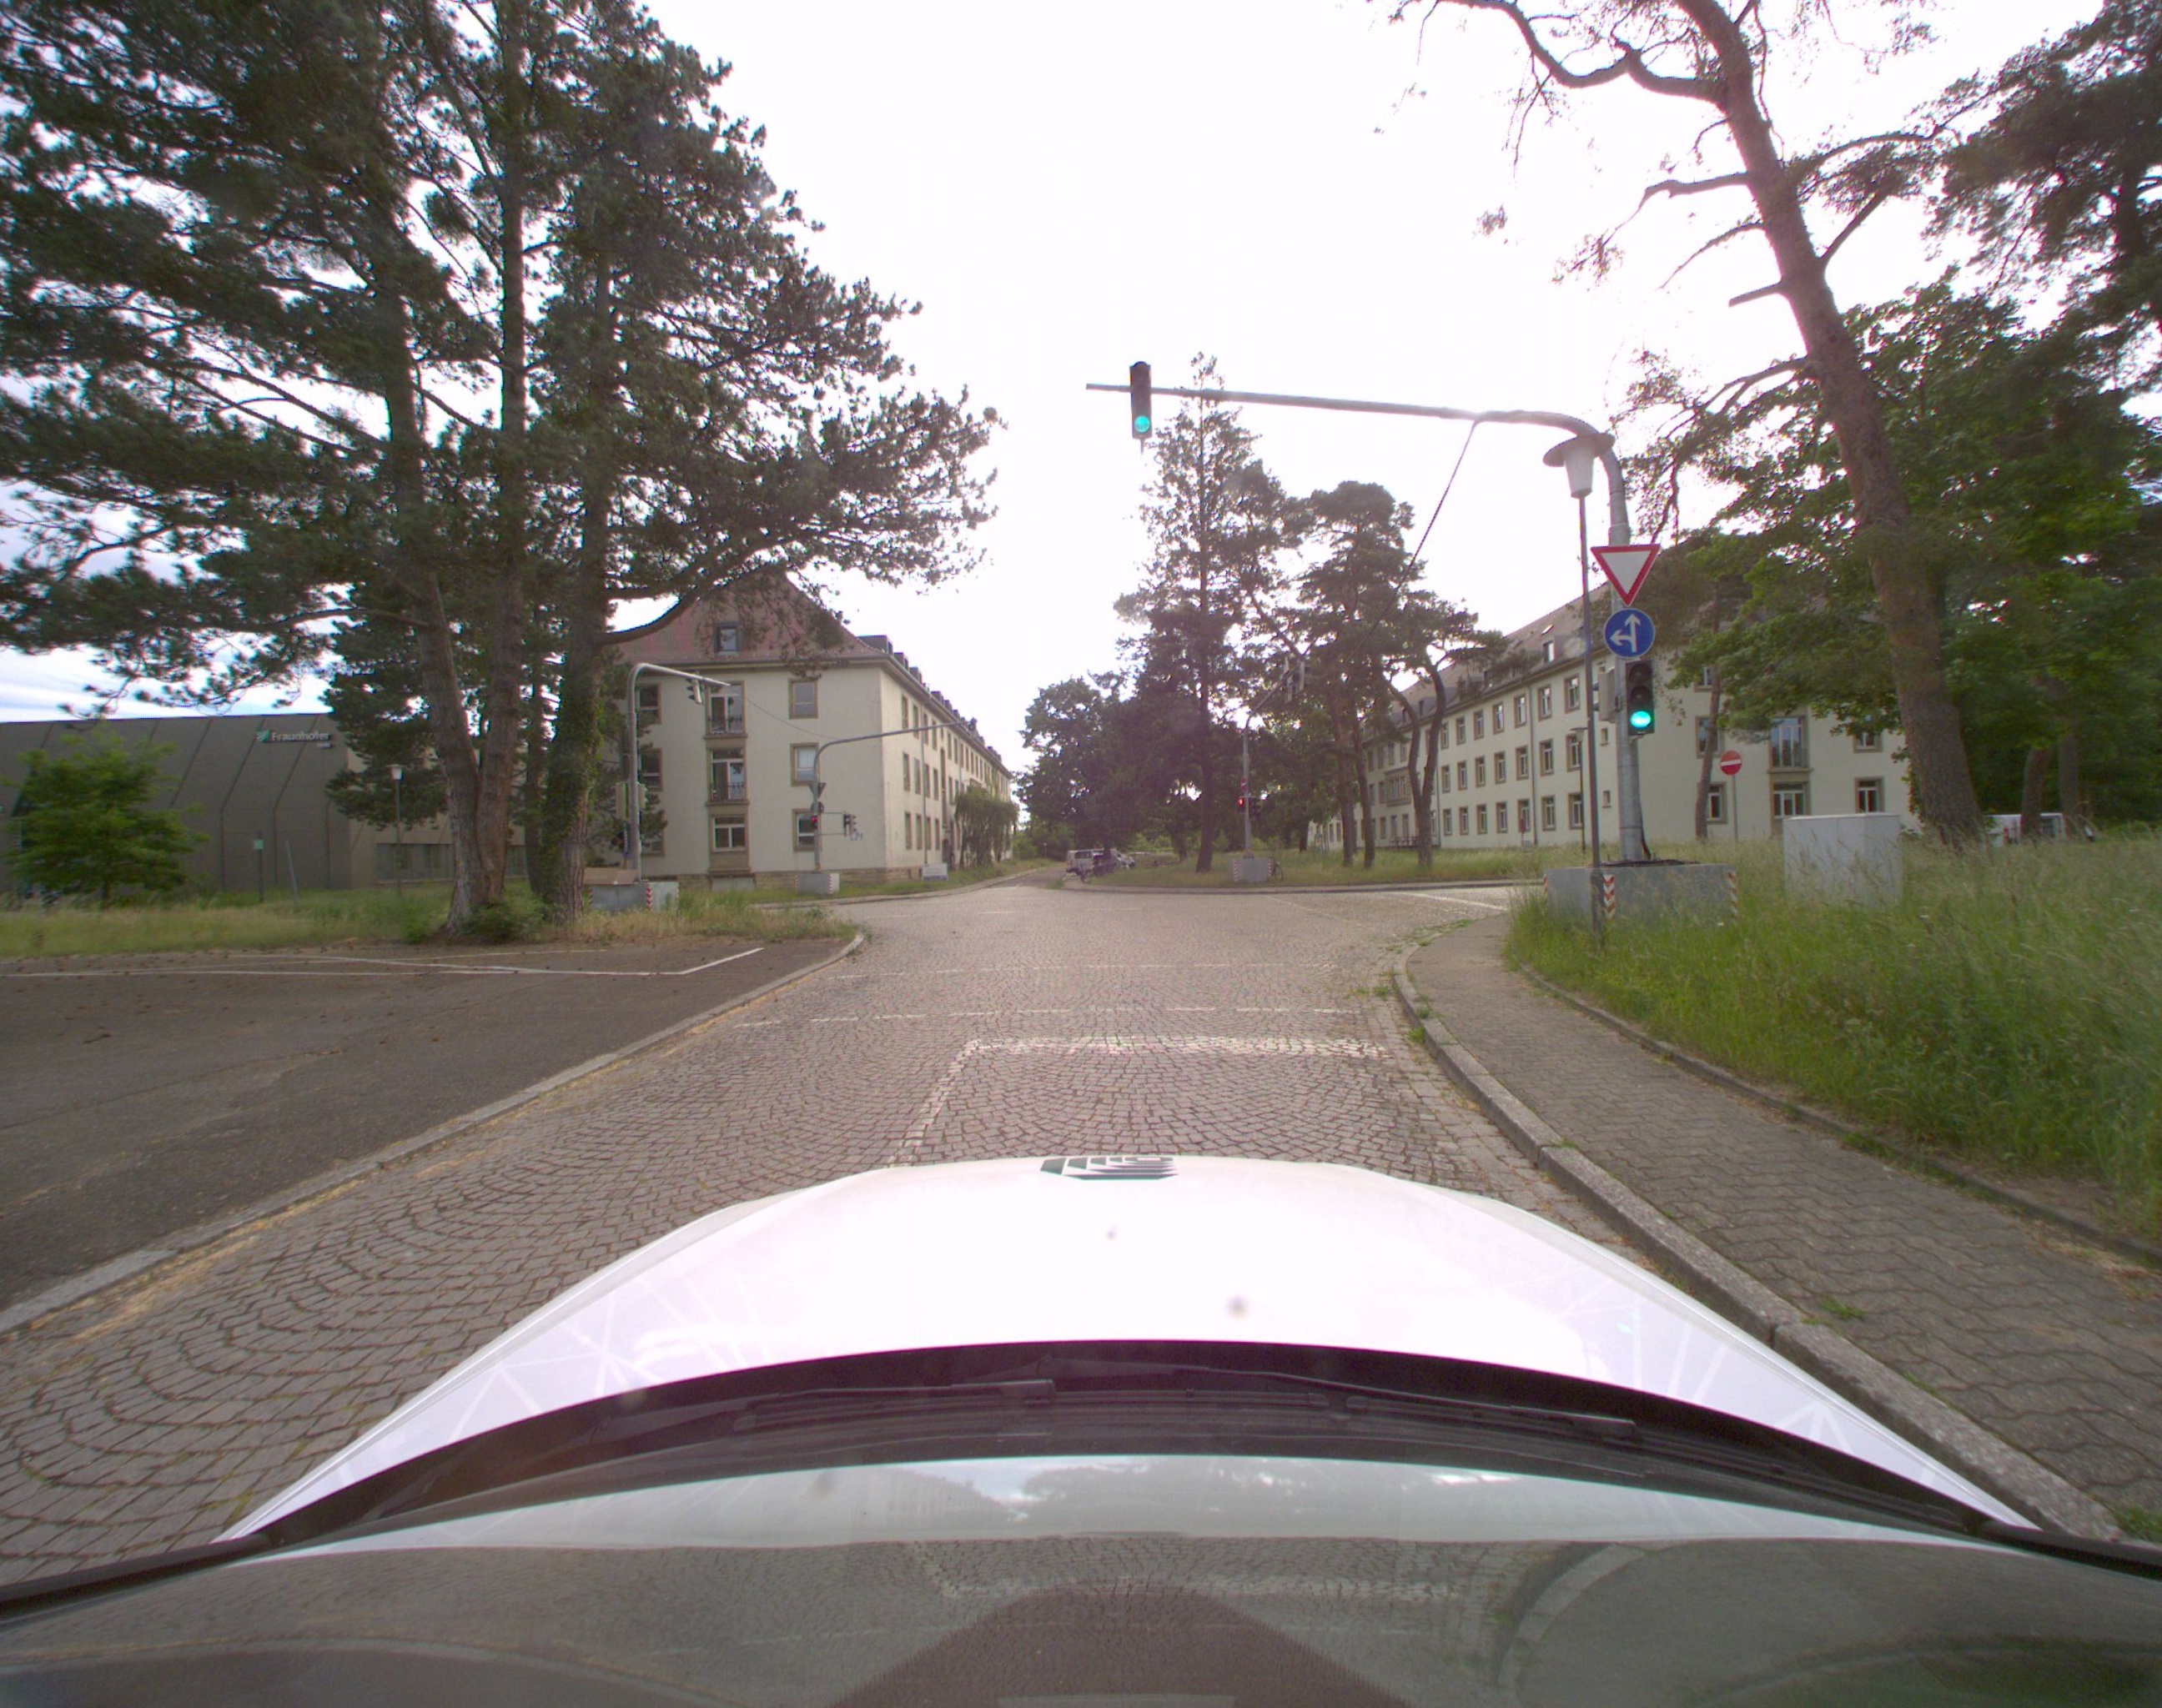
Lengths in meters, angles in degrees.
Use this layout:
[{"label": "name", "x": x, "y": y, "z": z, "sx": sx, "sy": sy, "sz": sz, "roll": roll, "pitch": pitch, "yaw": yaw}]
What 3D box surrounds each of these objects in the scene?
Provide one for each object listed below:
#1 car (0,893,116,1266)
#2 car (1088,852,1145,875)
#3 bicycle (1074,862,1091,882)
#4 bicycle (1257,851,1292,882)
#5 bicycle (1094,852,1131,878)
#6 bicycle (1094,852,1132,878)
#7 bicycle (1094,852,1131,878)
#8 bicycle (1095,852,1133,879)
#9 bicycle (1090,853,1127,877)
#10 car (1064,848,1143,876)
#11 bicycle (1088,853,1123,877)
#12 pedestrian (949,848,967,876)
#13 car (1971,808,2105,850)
[{"label": "car", "x": -6.537, "y": 0.875, "z": 2.549, "sx": 4.636, "sy": 1.443, "sz": 1.800, "roll": 1, "pitch": 0, "yaw": -3}, {"label": "car", "x": 2.515, "y": 0.685, "z": 59.079, "sx": 3.924, "sy": 1.544, "sz": 1.997, "roll": -2, "pitch": 0, "yaw": -4}, {"label": "bicycle", "x": 0.084, "y": 0.942, "z": 42.783, "sx": 0.614, "sy": 0.963, "sz": 2.081, "roll": -2, "pitch": 0, "yaw": 8}, {"label": "bicycle", "x": 7.624, "y": 0.481, "z": 32.224, "sx": 0.905, "sy": 1.177, "sz": 1.874, "roll": -2, "pitch": 0, "yaw": 0}, {"label": "bicycle", "x": 1.803, "y": 0.632, "z": 46.656, "sx": 2.062, "sy": 1.378, "sz": 0.620, "roll": -2, "pitch": 0, "yaw": 1}, {"label": "bicycle", "x": 1.770, "y": 0.621, "z": 45.234, "sx": 2.062, "sy": 1.378, "sz": 0.620, "roll": -2, "pitch": 0, "yaw": 1}, {"label": "bicycle", "x": 1.779, "y": 0.626, "z": 45.859, "sx": 2.062, "sy": 1.378, "sz": 0.620, "roll": -2, "pitch": 0, "yaw": 1}, {"label": "bicycle", "x": 1.801, "y": 0.616, "z": 44.563, "sx": 2.062, "sy": 1.378, "sz": 0.620, "roll": -2, "pitch": 0, "yaw": 1}, {"label": "bicycle", "x": 1.593, "y": 0.636, "z": 47.457, "sx": 2.062, "sy": 1.378, "sz": 0.620, "roll": -2, "pitch": 0, "yaw": 1}, {"label": "car", "x": 1.686, "y": 0.568, "z": 62.460, "sx": 5.695, "sy": 1.910, "sz": 2.221, "roll": -2, "pitch": 0, "yaw": -12}, {"label": "bicycle", "x": 1.485, "y": 0.648, "z": 48.944, "sx": 2.062, "sy": 1.378, "sz": 0.620, "roll": -2, "pitch": 0, "yaw": 1}, {"label": "pedestrian", "x": -9.089, "y": 0.579, "z": 60.189, "sx": 1.081, "sy": 2.013, "sz": 1.023, "roll": -2, "pitch": 0, "yaw": 6}, {"label": "car", "x": 56.781, "y": -1.468, "z": 48.407, "sx": 5.160, "sy": 2.288, "sz": 2.214, "roll": -2, "pitch": 0, "yaw": 2}]
